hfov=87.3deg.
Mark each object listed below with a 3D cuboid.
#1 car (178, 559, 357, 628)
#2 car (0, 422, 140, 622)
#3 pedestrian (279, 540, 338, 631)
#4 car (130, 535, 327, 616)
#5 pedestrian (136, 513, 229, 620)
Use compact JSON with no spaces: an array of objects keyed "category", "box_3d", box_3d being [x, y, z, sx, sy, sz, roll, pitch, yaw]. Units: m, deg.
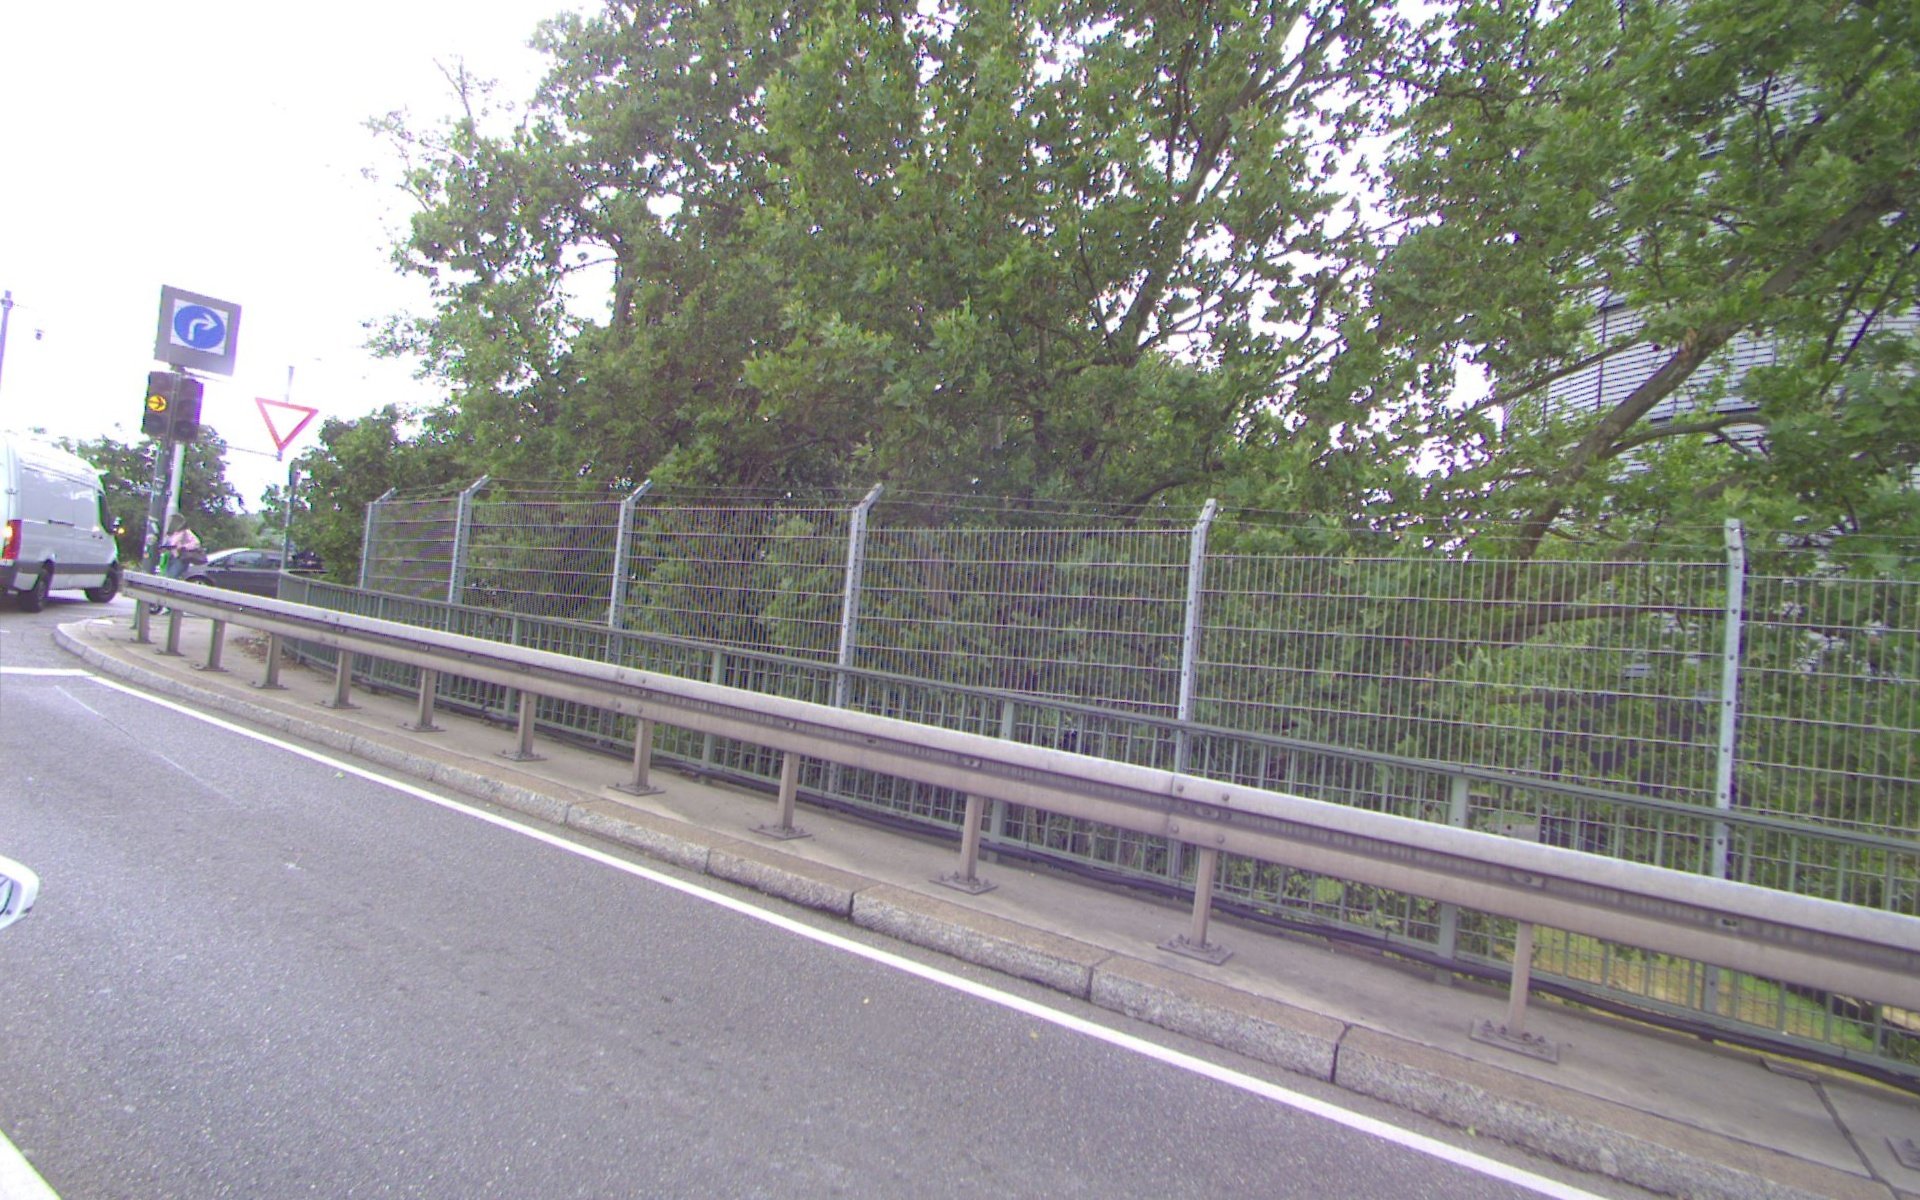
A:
[{"category":"car","box_3d":[-25.509,-0.229,37.225,5.195,1.792,1.985,9,-1,-36]},{"category":"car","box_3d":[-15.966,-1.376,16.873,2.095,2.817,6.727,8,-1,-30]},{"category":"pedestrian","box_3d":[-12.650,-0.283,19.552,0.776,1.639,0.672,7,0,-31]},{"category":"car","box_3d":[-20.480,-0.644,28.311,1.784,1.684,3.991,7,-1,34]},{"category":"pedestrian","box_3d":[-13.242,-0.564,17.144,0.963,1.698,0.834,4,-2,29]}]
